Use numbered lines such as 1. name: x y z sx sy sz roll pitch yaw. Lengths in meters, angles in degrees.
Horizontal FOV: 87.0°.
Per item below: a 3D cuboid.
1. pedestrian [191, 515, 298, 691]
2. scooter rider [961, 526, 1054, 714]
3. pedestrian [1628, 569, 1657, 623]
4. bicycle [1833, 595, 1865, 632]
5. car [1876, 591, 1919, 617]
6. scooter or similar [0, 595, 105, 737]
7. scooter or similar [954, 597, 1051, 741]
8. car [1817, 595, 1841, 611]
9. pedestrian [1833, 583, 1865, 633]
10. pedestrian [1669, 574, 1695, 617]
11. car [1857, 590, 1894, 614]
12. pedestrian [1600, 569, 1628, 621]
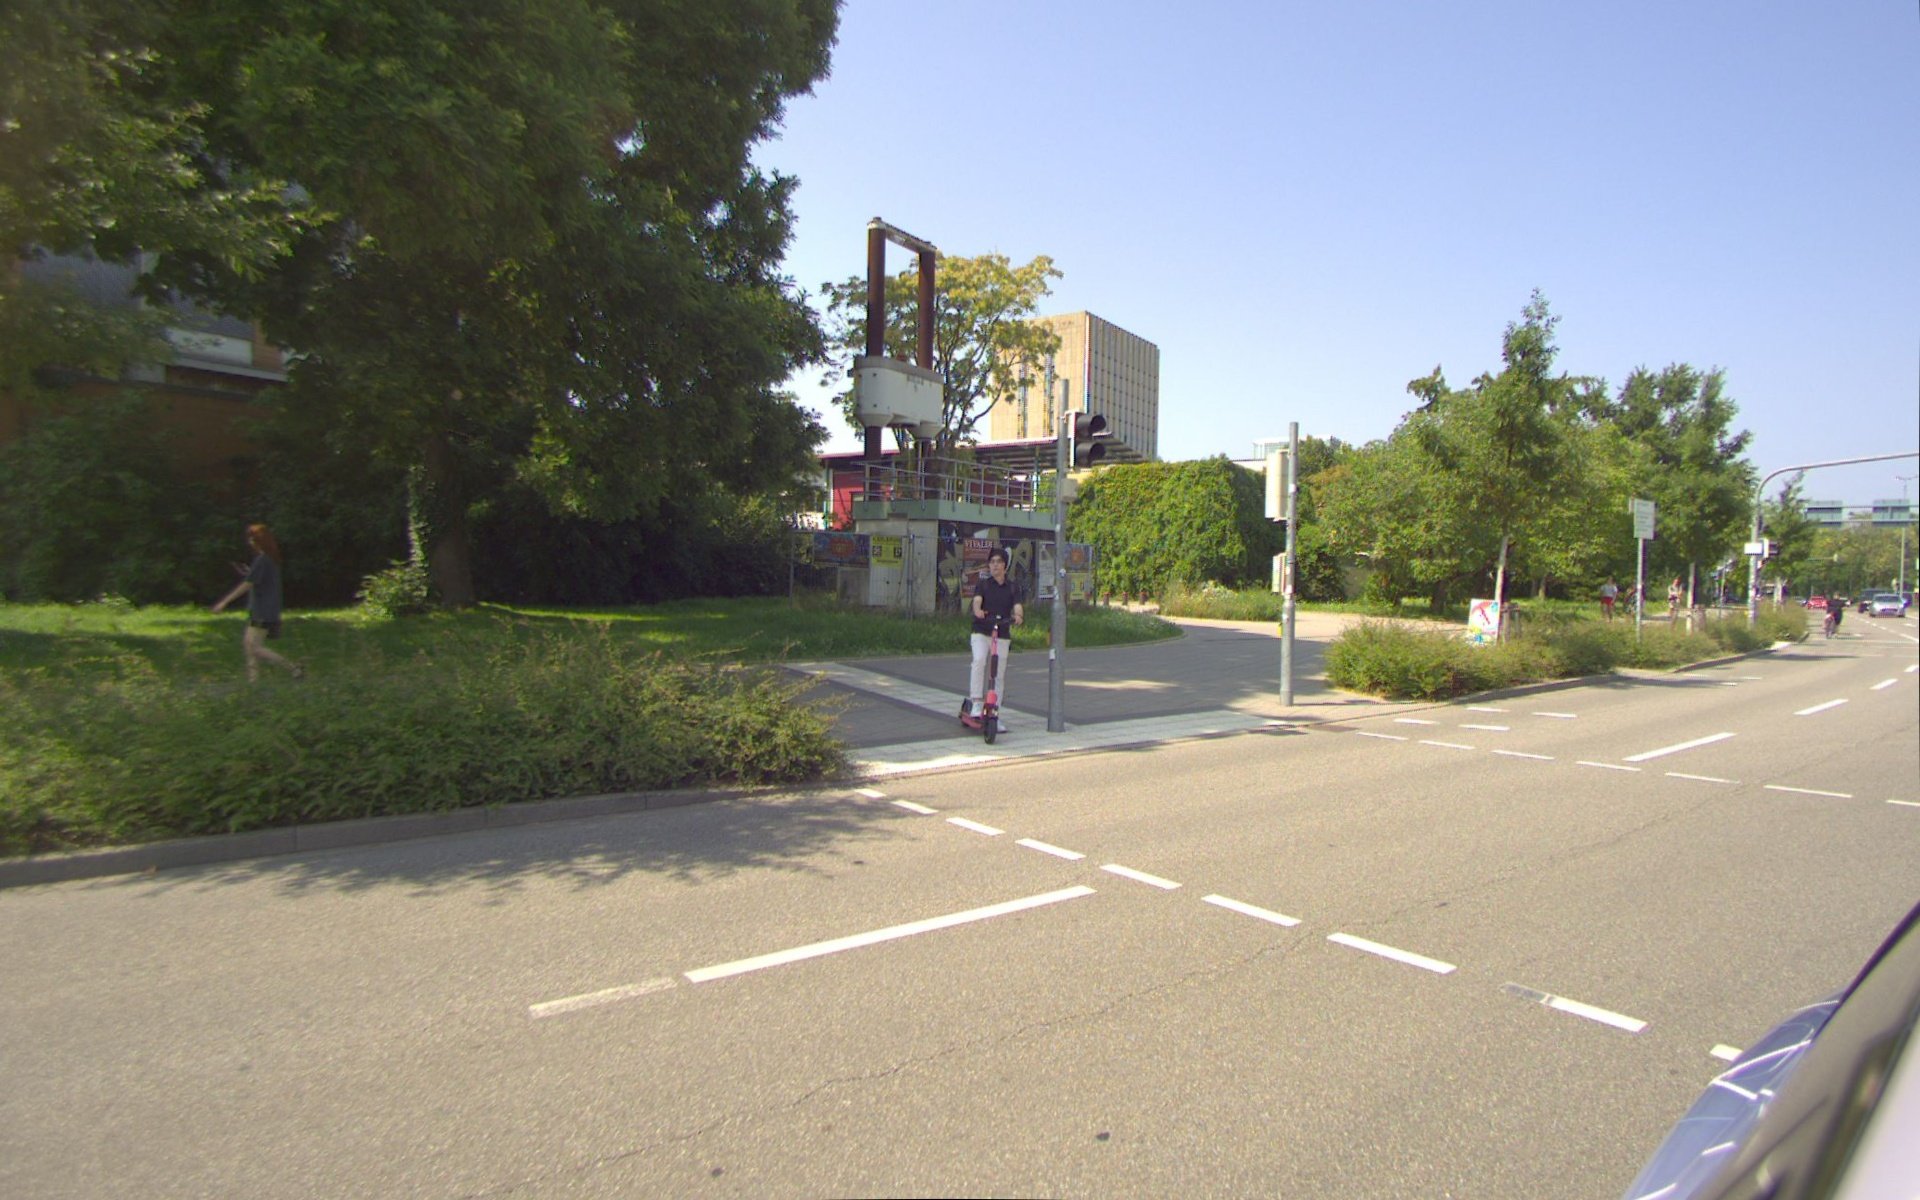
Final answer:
1. pedestrian: -7.374 0.009 10.436 0.863 1.725 0.708 0 3 -37
2. scooter rider: 0.455 0.175 9.931 0.674 1.761 0.807 1 2 -13
3. pedestrian: 23.231 -0.155 34.443 0.691 1.793 0.579 2 2 42
4. bicycle: 30.947 0.456 35.258 0.783 1.227 1.763 2 2 41
5. car: 63.202 0.248 68.213 1.991 1.699 3.942 2 2 40
6. scooter or similar: -8.038 0.508 7.931 1.962 1.073 0.559 1 2 -22
7. scooter or similar: 0.388 0.631 9.921 0.573 1.249 1.371 1 2 -13
8. car: 99.241 0.306 115.611 1.991 1.801 3.942 2 2 40
9. pedestrian: 30.885 0.257 35.183 0.777 1.690 0.541 2 2 41
10. pedestrian: 30.929 -0.209 43.353 0.791 1.790 0.814 2 1 41
11. car: 74.273 0.154 82.155 1.991 1.801 3.942 2 2 40
12. pedestrian: 22.590 -0.179 34.933 0.691 1.793 0.579 2 2 42
